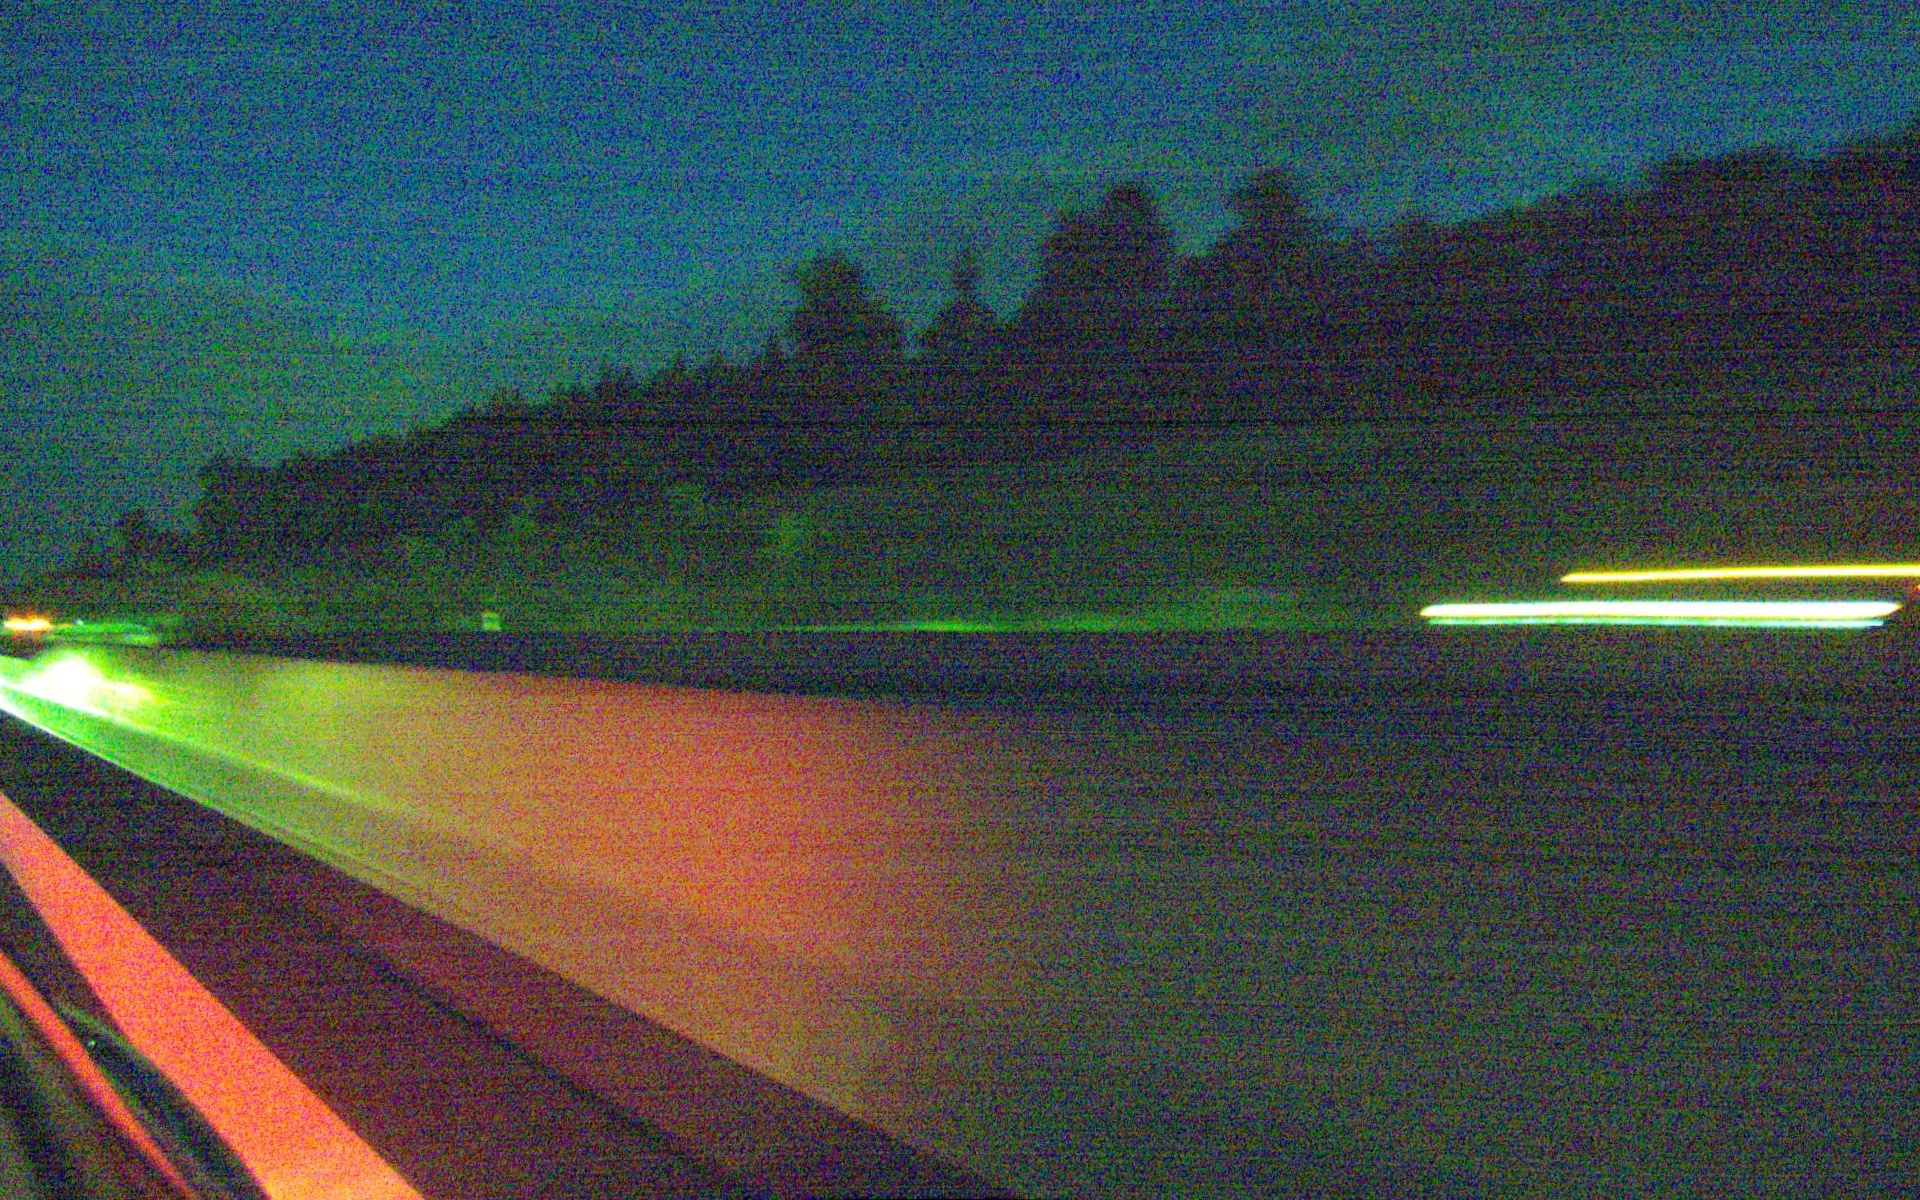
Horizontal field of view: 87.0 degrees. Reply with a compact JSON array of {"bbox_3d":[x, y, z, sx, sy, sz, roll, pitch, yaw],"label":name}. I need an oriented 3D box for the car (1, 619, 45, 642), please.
[{"bbox_3d":[-70.583,2.342,76.232,4.450,1.573,1.914,-2,1,41],"label":"car"}]

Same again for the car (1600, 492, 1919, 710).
[{"bbox_3d":[8.798,-0.043,8.848,5.166,1.789,1.973,-2,1,40],"label":"car"}]

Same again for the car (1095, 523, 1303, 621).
[{"bbox_3d":[5.167,-0.512,22.128,3.997,1.940,1.973,-1,-2,40],"label":"car"}]
